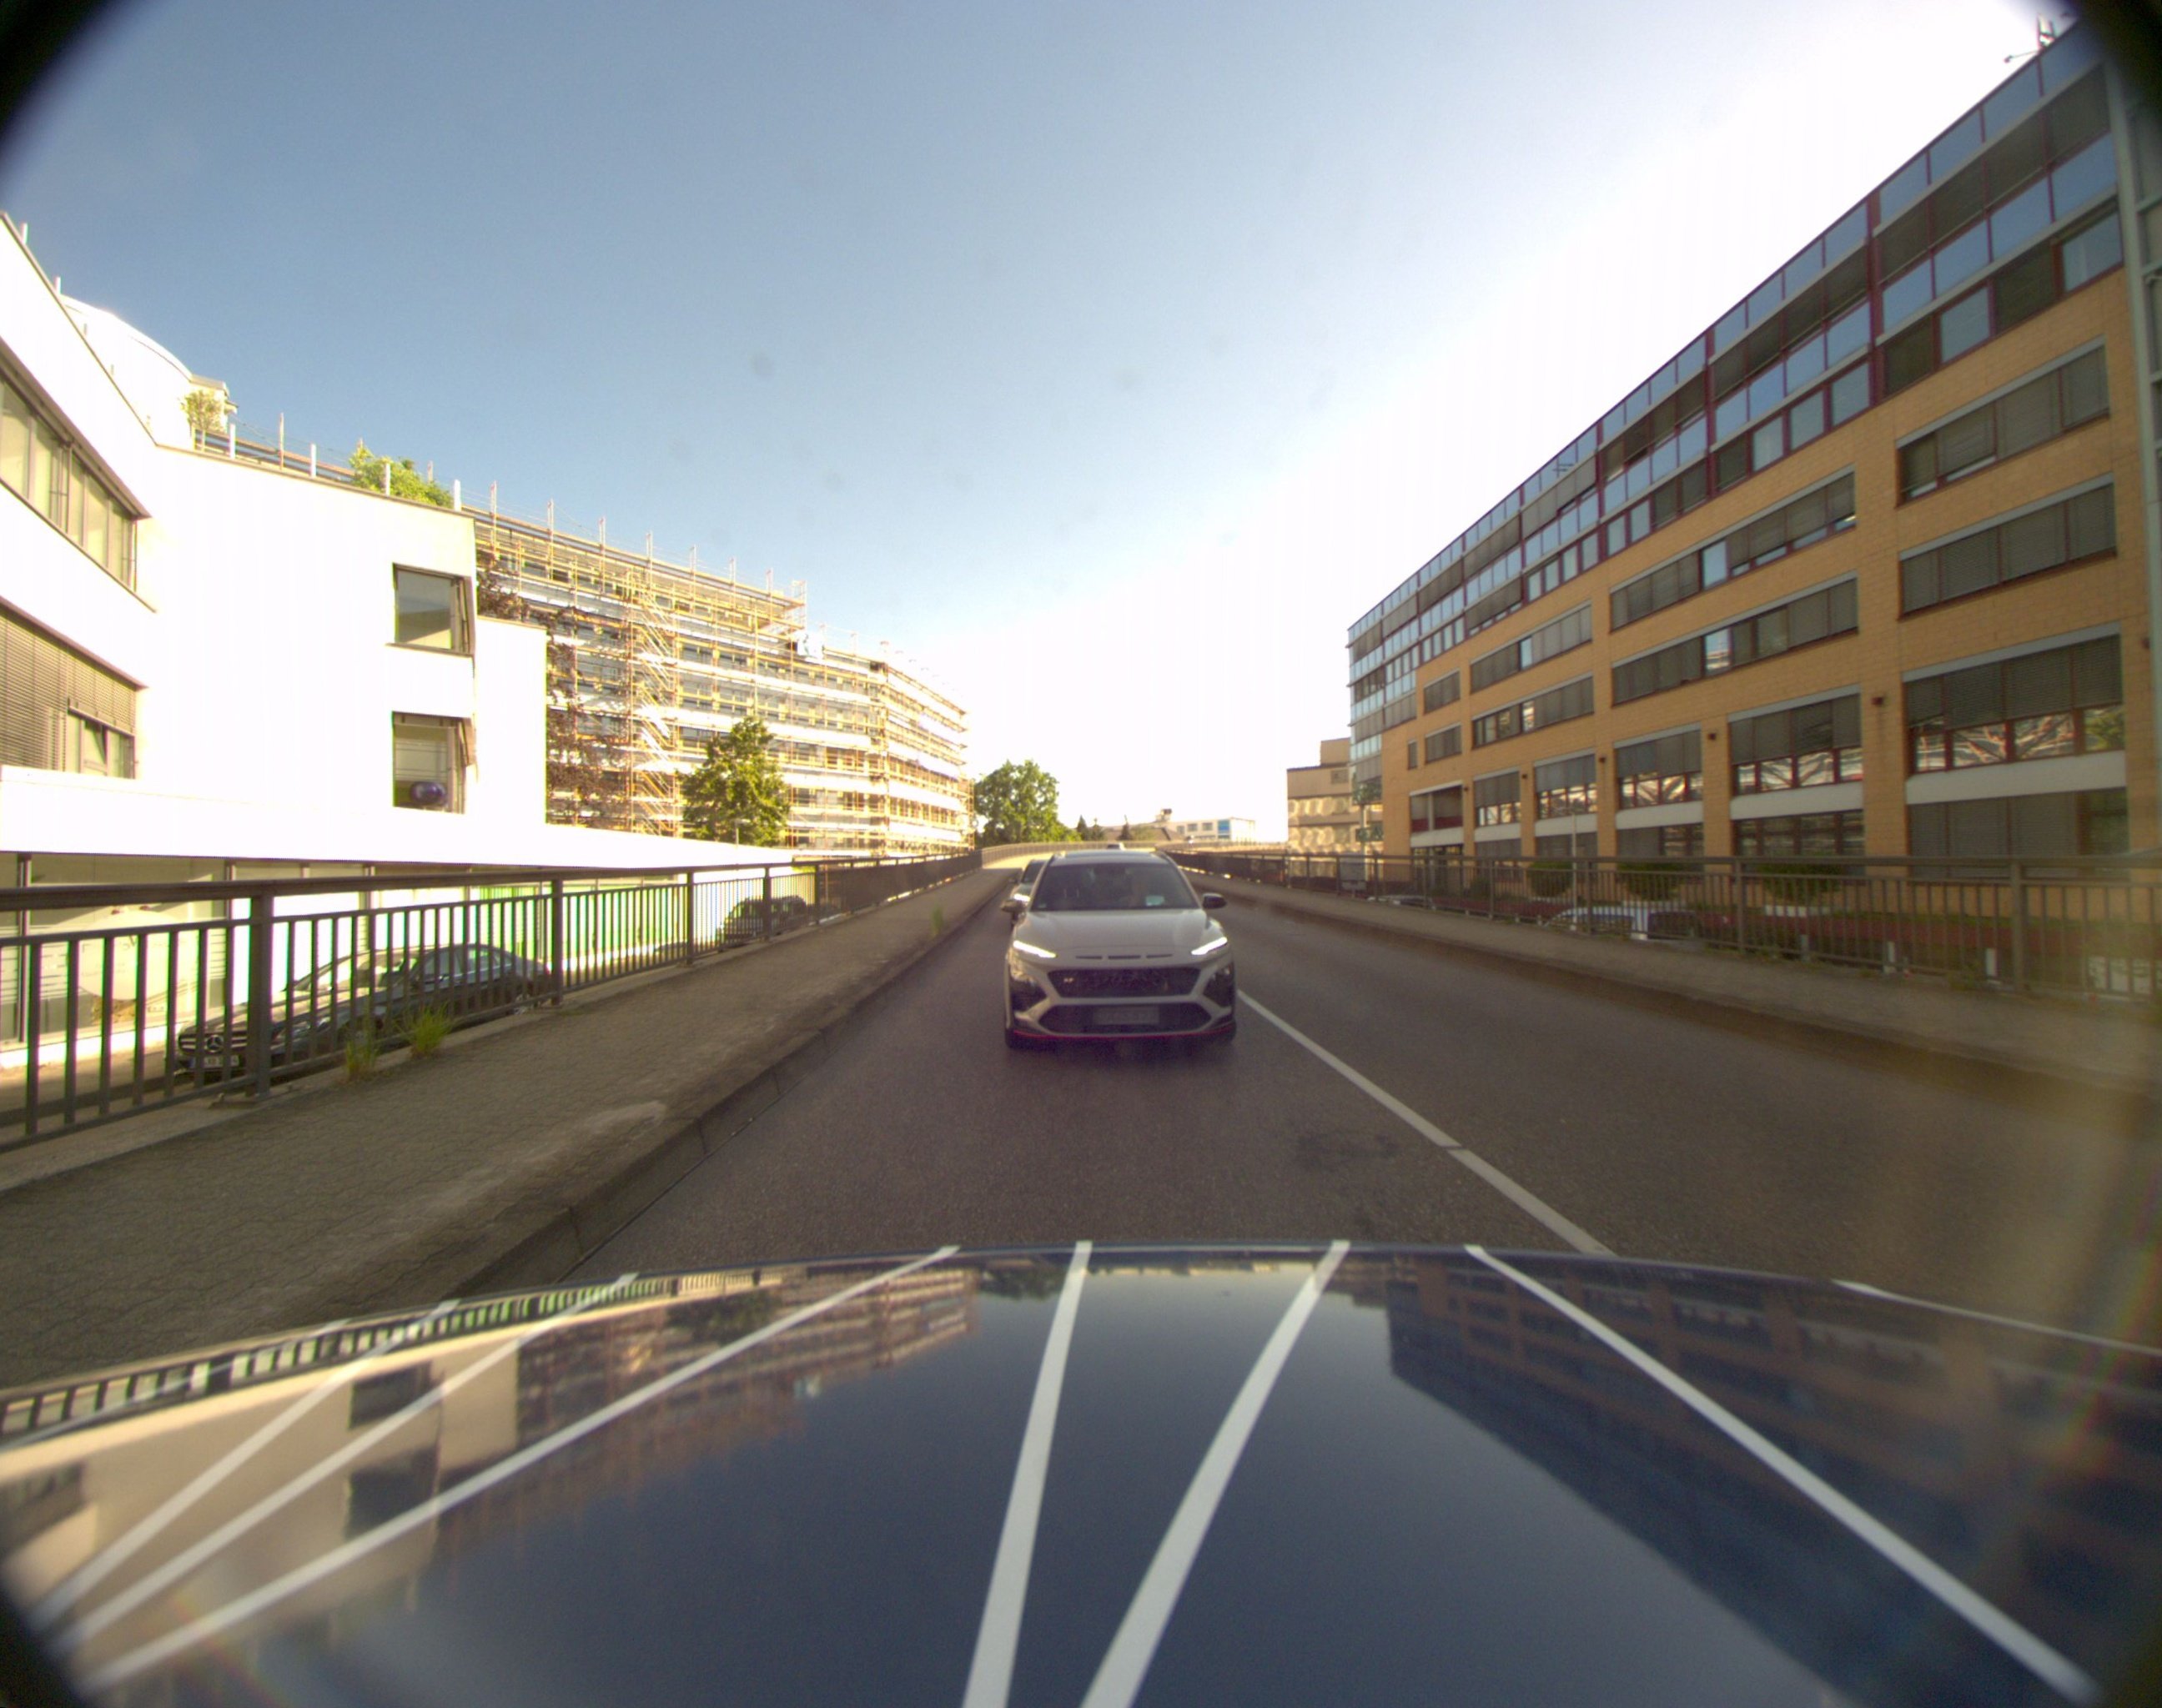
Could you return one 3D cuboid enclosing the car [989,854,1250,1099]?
[{"bbox_3d":[0.261,0.851,7.119,1.749,1.637,4.000,0,-1,0],"label":"car"}]

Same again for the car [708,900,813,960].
[{"bbox_3d":[-10.196,2.369,24.498,1.726,1.513,4.000,-2,-1,-2],"label":"car"}]

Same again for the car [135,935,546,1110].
[{"bbox_3d":[-9.685,2.098,10.494,1.726,1.513,4.000,-2,-1,0],"label":"car"}]

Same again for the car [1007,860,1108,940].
[{"bbox_3d":[-0.517,0.891,16.350,1.902,1.434,4.126,1,0,-2],"label":"car"}]

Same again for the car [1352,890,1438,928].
[{"bbox_3d":[12.378,2.149,30.219,1.766,1.261,3.809,0,-1,-2],"label":"car"}]

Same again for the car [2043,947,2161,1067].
[{"bbox_3d":[13.227,1.814,7.903,1.580,1.261,3.809,0,-1,-2],"label":"car"}]

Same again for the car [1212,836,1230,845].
[{"bbox_3d":[23.283,-2.183,125.893,1.742,1.399,4.209,1,0,28],"label":"car"}]

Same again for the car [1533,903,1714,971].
[{"bbox_3d":[12.854,1.923,18.318,1.580,1.261,3.809,0,-1,-2],"label":"car"}]

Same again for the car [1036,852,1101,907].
[{"bbox_3d":[-0.435,0.785,25.706,1.952,1.456,3.997,3,3,-2],"label":"car"}]

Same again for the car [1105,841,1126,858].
[{"bbox_3d":[3.527,-0.450,76.820,1.807,1.614,4.001,-2,1,7],"label":"car"}]

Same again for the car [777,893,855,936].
[{"bbox_3d":[-10.459,2.361,30.283,1.726,1.384,4.000,-2,-1,-2],"label":"car"}]
